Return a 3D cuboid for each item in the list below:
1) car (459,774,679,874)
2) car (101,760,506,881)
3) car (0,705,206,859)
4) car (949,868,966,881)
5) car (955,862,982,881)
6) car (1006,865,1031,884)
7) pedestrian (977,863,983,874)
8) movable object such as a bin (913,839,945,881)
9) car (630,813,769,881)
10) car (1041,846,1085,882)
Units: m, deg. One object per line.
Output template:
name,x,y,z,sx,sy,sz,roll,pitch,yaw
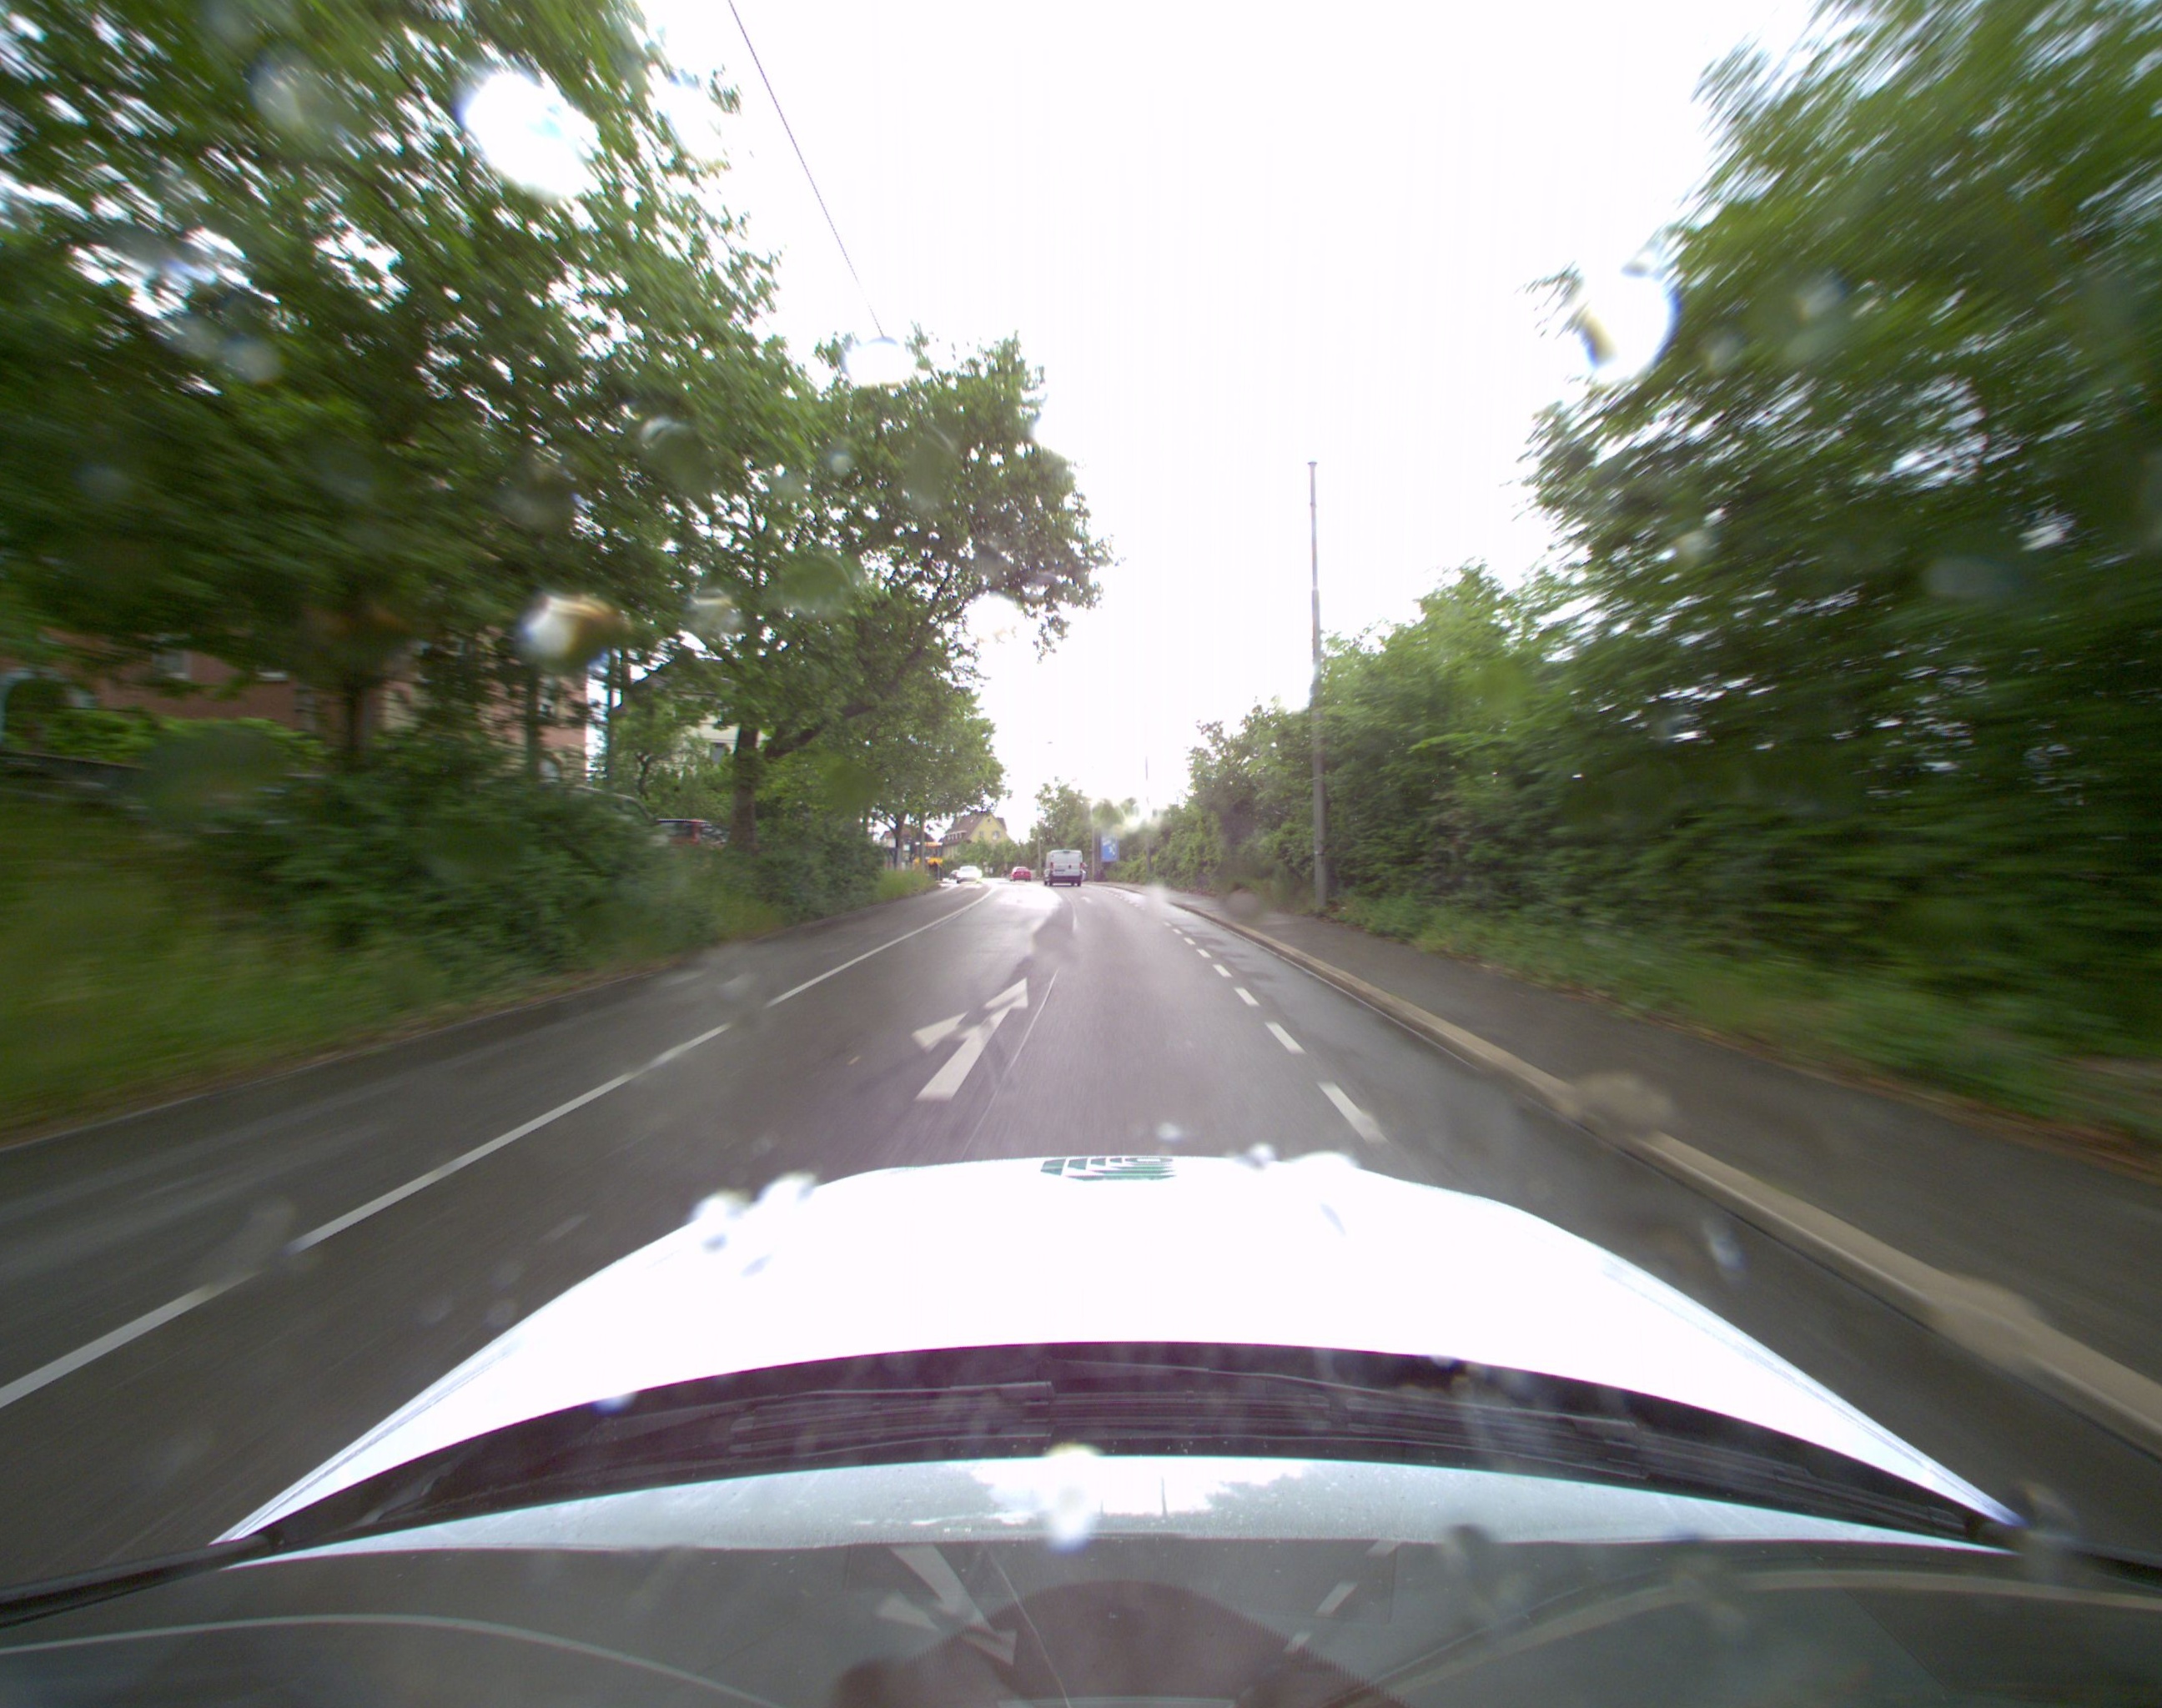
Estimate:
car,-11.462,-0.621,18.725,1.986,2.013,4.630,1,0,2
car,-11.711,-0.451,12.868,1.823,1.557,4.630,1,0,2
car,-11.861,-0.731,7.810,1.823,1.557,4.630,1,0,2
car,-18.646,3.109,122.933,2.238,1.804,4.695,1,0,-11
car,-9.127,1.410,66.134,2.070,1.353,4.700,1,0,-8
car,-6.195,2.018,80.345,2.236,1.656,4.700,1,0,-8
pedestrian,-16.509,2.430,133.402,0.906,1.731,0.651,1,0,-12
movable object such as a bin,-14.395,0.559,77.444,2.774,3.855,5.968,1,0,-10
car,-11.256,-0.201,24.440,1.823,1.843,4.630,1,0,2
car,-1.234,0.586,52.359,2.237,2.213,4.699,1,0,-9
